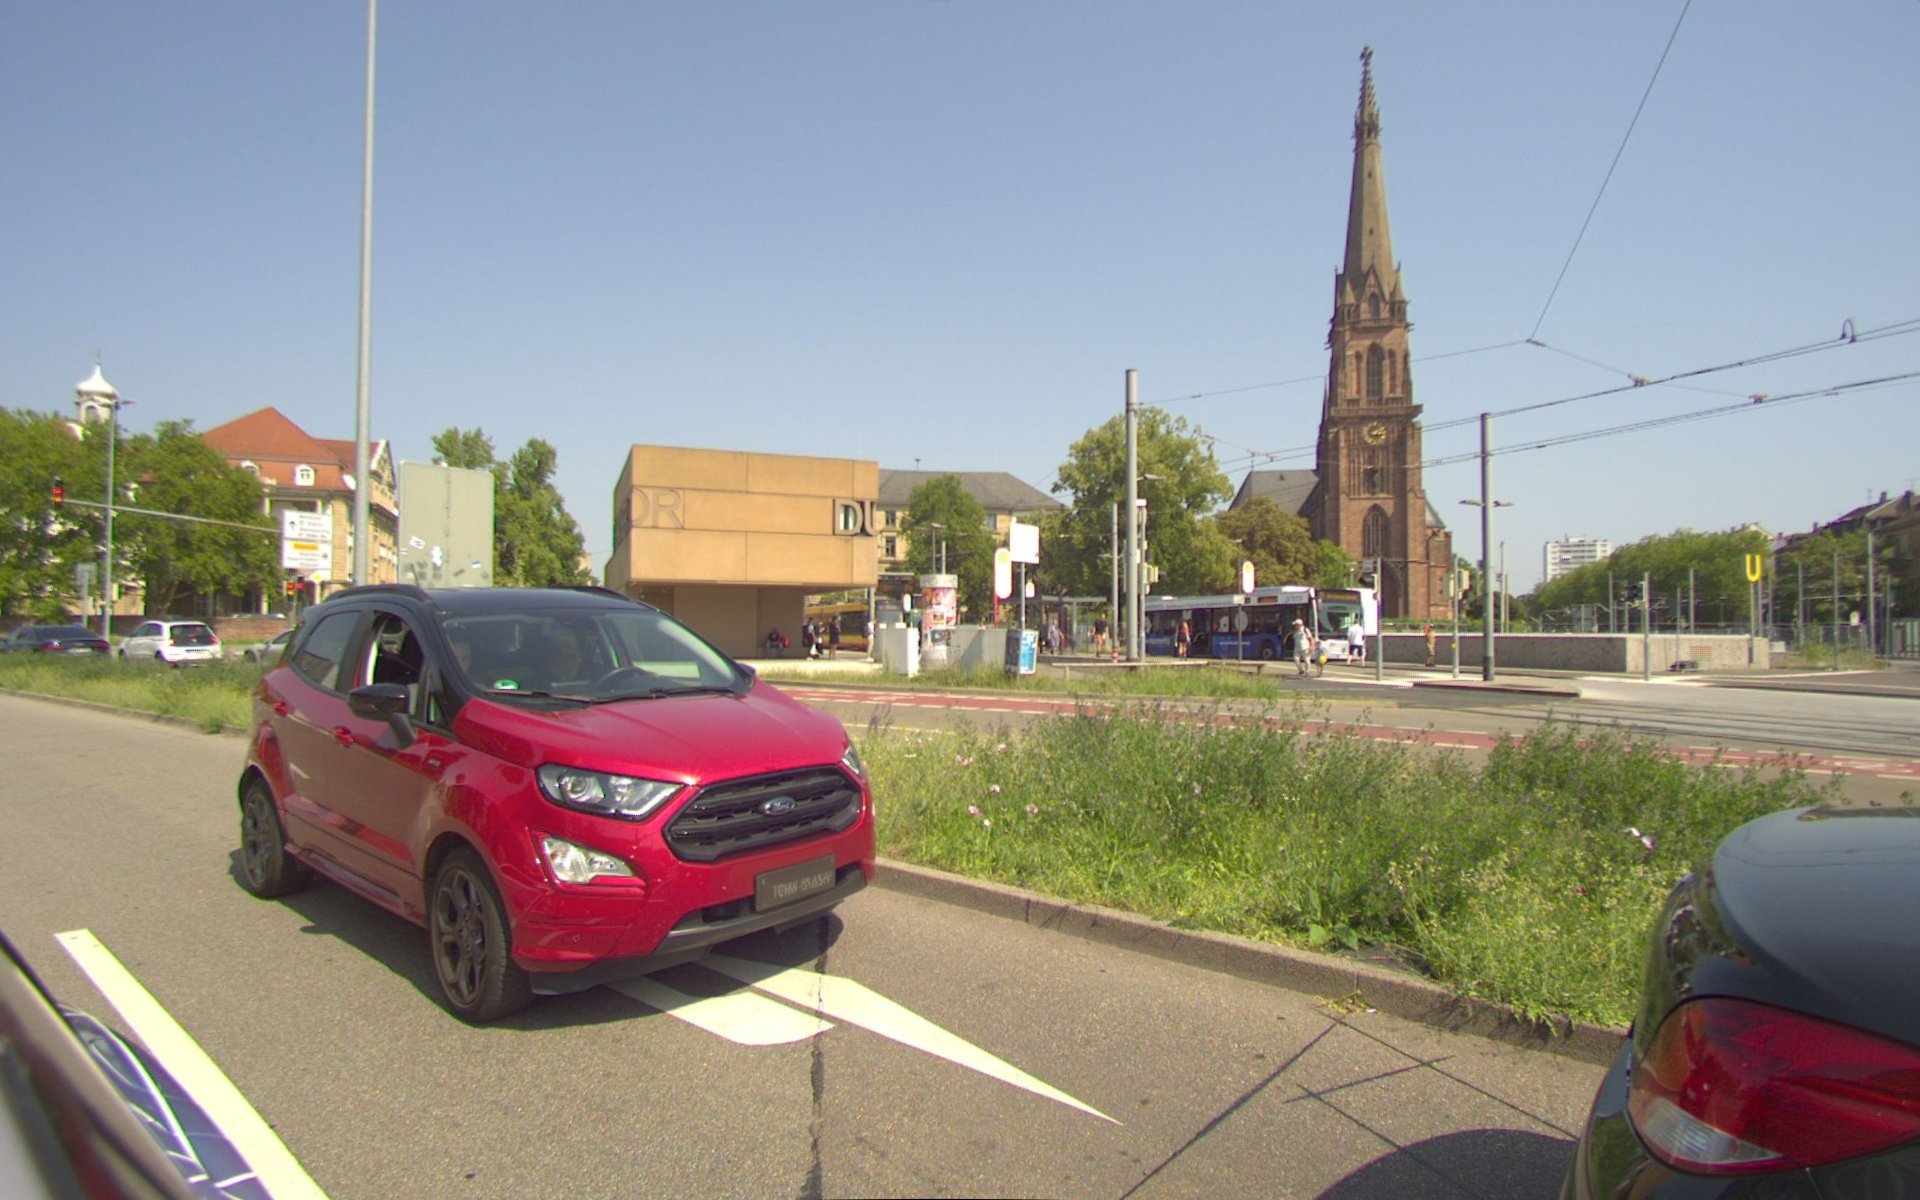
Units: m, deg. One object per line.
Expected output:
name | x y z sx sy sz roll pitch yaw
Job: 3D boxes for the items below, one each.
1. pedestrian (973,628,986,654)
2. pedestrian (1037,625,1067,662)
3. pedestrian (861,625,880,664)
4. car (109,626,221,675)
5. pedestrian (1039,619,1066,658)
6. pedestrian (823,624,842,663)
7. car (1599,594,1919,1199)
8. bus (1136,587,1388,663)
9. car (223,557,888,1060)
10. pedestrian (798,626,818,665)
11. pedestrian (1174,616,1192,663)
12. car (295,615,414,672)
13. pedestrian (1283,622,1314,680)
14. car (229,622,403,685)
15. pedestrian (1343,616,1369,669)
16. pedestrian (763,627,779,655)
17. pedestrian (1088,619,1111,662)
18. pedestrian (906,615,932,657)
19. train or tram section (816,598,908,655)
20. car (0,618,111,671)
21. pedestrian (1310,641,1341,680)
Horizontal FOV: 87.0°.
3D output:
pedestrian | 1.079 2.259 56.081 0.546 1.405 0.535 1 -2 -21
pedestrian | 4.340 2.047 47.765 1.060 1.709 1.068 1 -2 -21
pedestrian | -3.525 1.749 39.833 0.541 1.508 0.532 -1 -3 39
car | -25.372 1.580 32.293 3.460 1.490 1.512 -1 -2 27
pedestrian | 4.365 1.825 47.874 0.913 1.837 0.940 1 -2 -21
pedestrian | -5.025 1.714 39.885 0.541 1.508 0.532 -1 -3 39
car | 2.694 0.659 0.449 3.783 1.398 1.745 -2 -1 45
bus | 12.088 1.097 42.697 3.346 2.733 12.382 1 -2 -21
car | -2.294 0.695 5.155 3.845 1.598 1.671 -2 -1 43
pedestrian | -5.854 1.755 39.072 0.541 1.508 0.532 -1 -3 39
pedestrian | 8.798 1.569 39.936 0.632 1.825 0.599 -1 0 16
car | -21.294 1.494 35.584 3.898 1.868 1.851 0 -2 29
pedestrian | 10.261 1.533 30.684 0.681 1.724 0.538 1 -2 -18
car | -17.699 1.425 27.781 4.693 1.597 1.981 -1 -2 28
pedestrian | 13.964 1.488 35.667 0.592 1.825 0.639 0 0 -43
pedestrian | -7.584 1.635 40.614 0.530 1.108 0.543 1 -2 -18
pedestrian | 5.953 1.729 43.104 0.792 1.837 0.535 1 -2 -21
pedestrian | -1.516 1.318 37.205 0.605 1.508 0.761 -1 -3 39
train or tram section | -6.962 1.852 69.228 2.658 3.465 13.464 1 -2 -21
car | -25.882 1.257 28.903 3.466 1.437 1.510 -1 -2 32
pedestrian | 11.056 1.810 30.583 0.591 1.134 0.640 -1 0 -25
